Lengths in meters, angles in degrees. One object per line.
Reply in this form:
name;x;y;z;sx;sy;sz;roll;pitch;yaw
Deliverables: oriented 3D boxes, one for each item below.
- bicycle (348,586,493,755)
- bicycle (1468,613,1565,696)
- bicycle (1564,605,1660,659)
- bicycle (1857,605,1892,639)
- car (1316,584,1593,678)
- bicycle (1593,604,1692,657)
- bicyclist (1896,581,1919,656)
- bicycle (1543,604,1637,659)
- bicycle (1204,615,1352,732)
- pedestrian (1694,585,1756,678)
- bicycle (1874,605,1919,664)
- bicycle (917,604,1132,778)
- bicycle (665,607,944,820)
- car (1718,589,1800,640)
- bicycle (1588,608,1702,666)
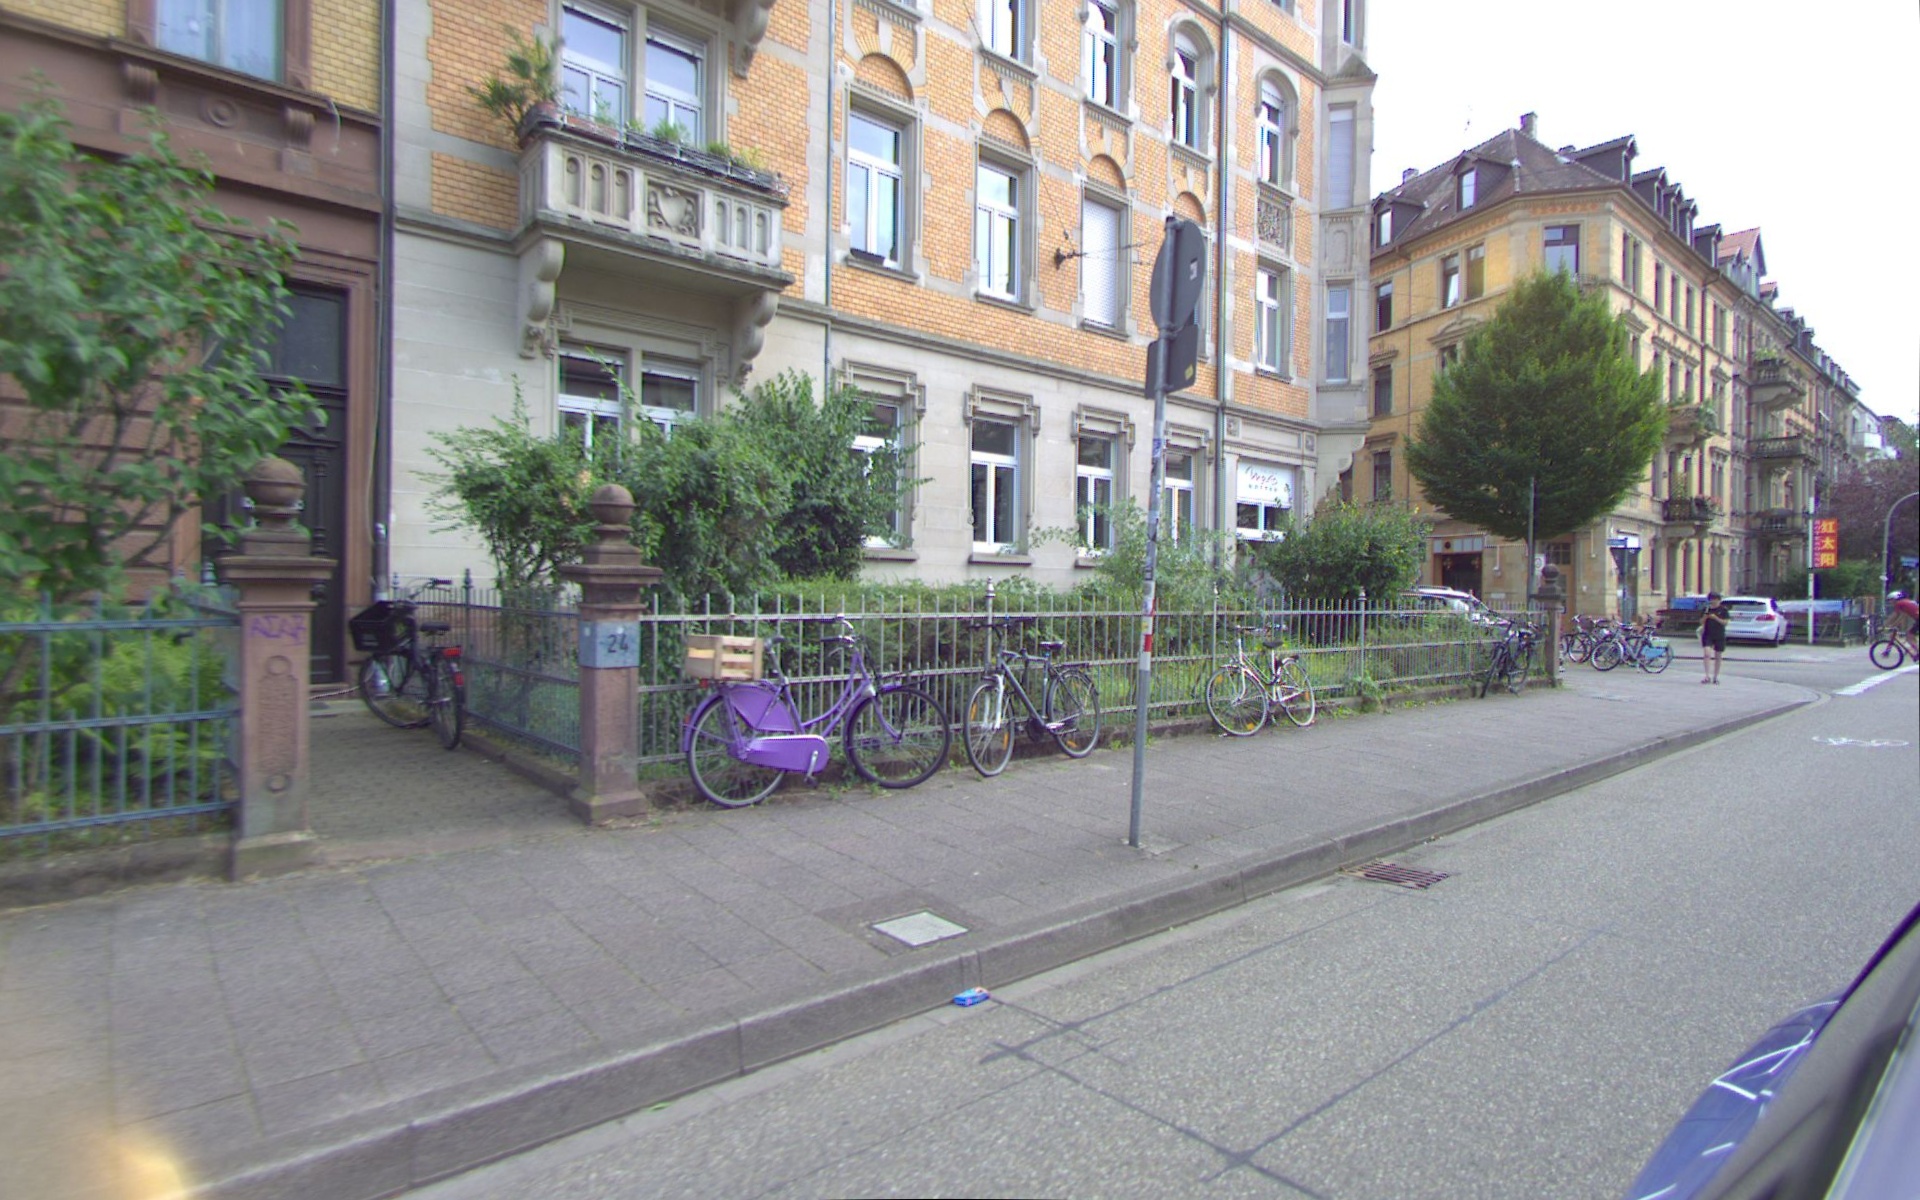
bicycle;-4.162;0.474;7.745;0.601;1.126;1.669;0;1;-42
bicycle;7.582;0.707;13.768;1.643;0.994;0.580;0;4;-42
bicycle;14.788;0.704;23.020;0.521;1.142;1.898;1;1;-19
bicycle;31.773;0.737;35.148;1.841;1.127;0.630;0;1;-40
car;8.948;0.491;18.623;1.672;1.526;4.295;0;0;-39
bicycle;15.781;0.685;23.453;0.521;1.142;1.897;0;1;-24
bicyclist;21.080;0.409;22.029;0.568;1.620;0.860;2;-2;-13
bicycle;14.157;0.678;22.815;0.521;1.142;1.898;1;1;-18
bicycle;3.170;0.684;10.023;1.643;0.994;0.580;0;4;-42
pedestrian;14.068;0.555;18.612;0.821;1.644;0.732;0;0;-41
bicycle;21.065;0.758;22.046;0.568;1.274;1.675;2;-2;-13
bicycle;0.520;0.621;7.626;1.643;1.125;0.580;0;4;-42
bicycle;-0.933;0.633;6.341;1.643;1.125;0.580;0;4;-42
car;26.115;0.419;33.023;1.752;1.544;3.937;1;1;44
bicycle;13.967;0.739;20.661;1.840;1.127;0.630;1;0;3
